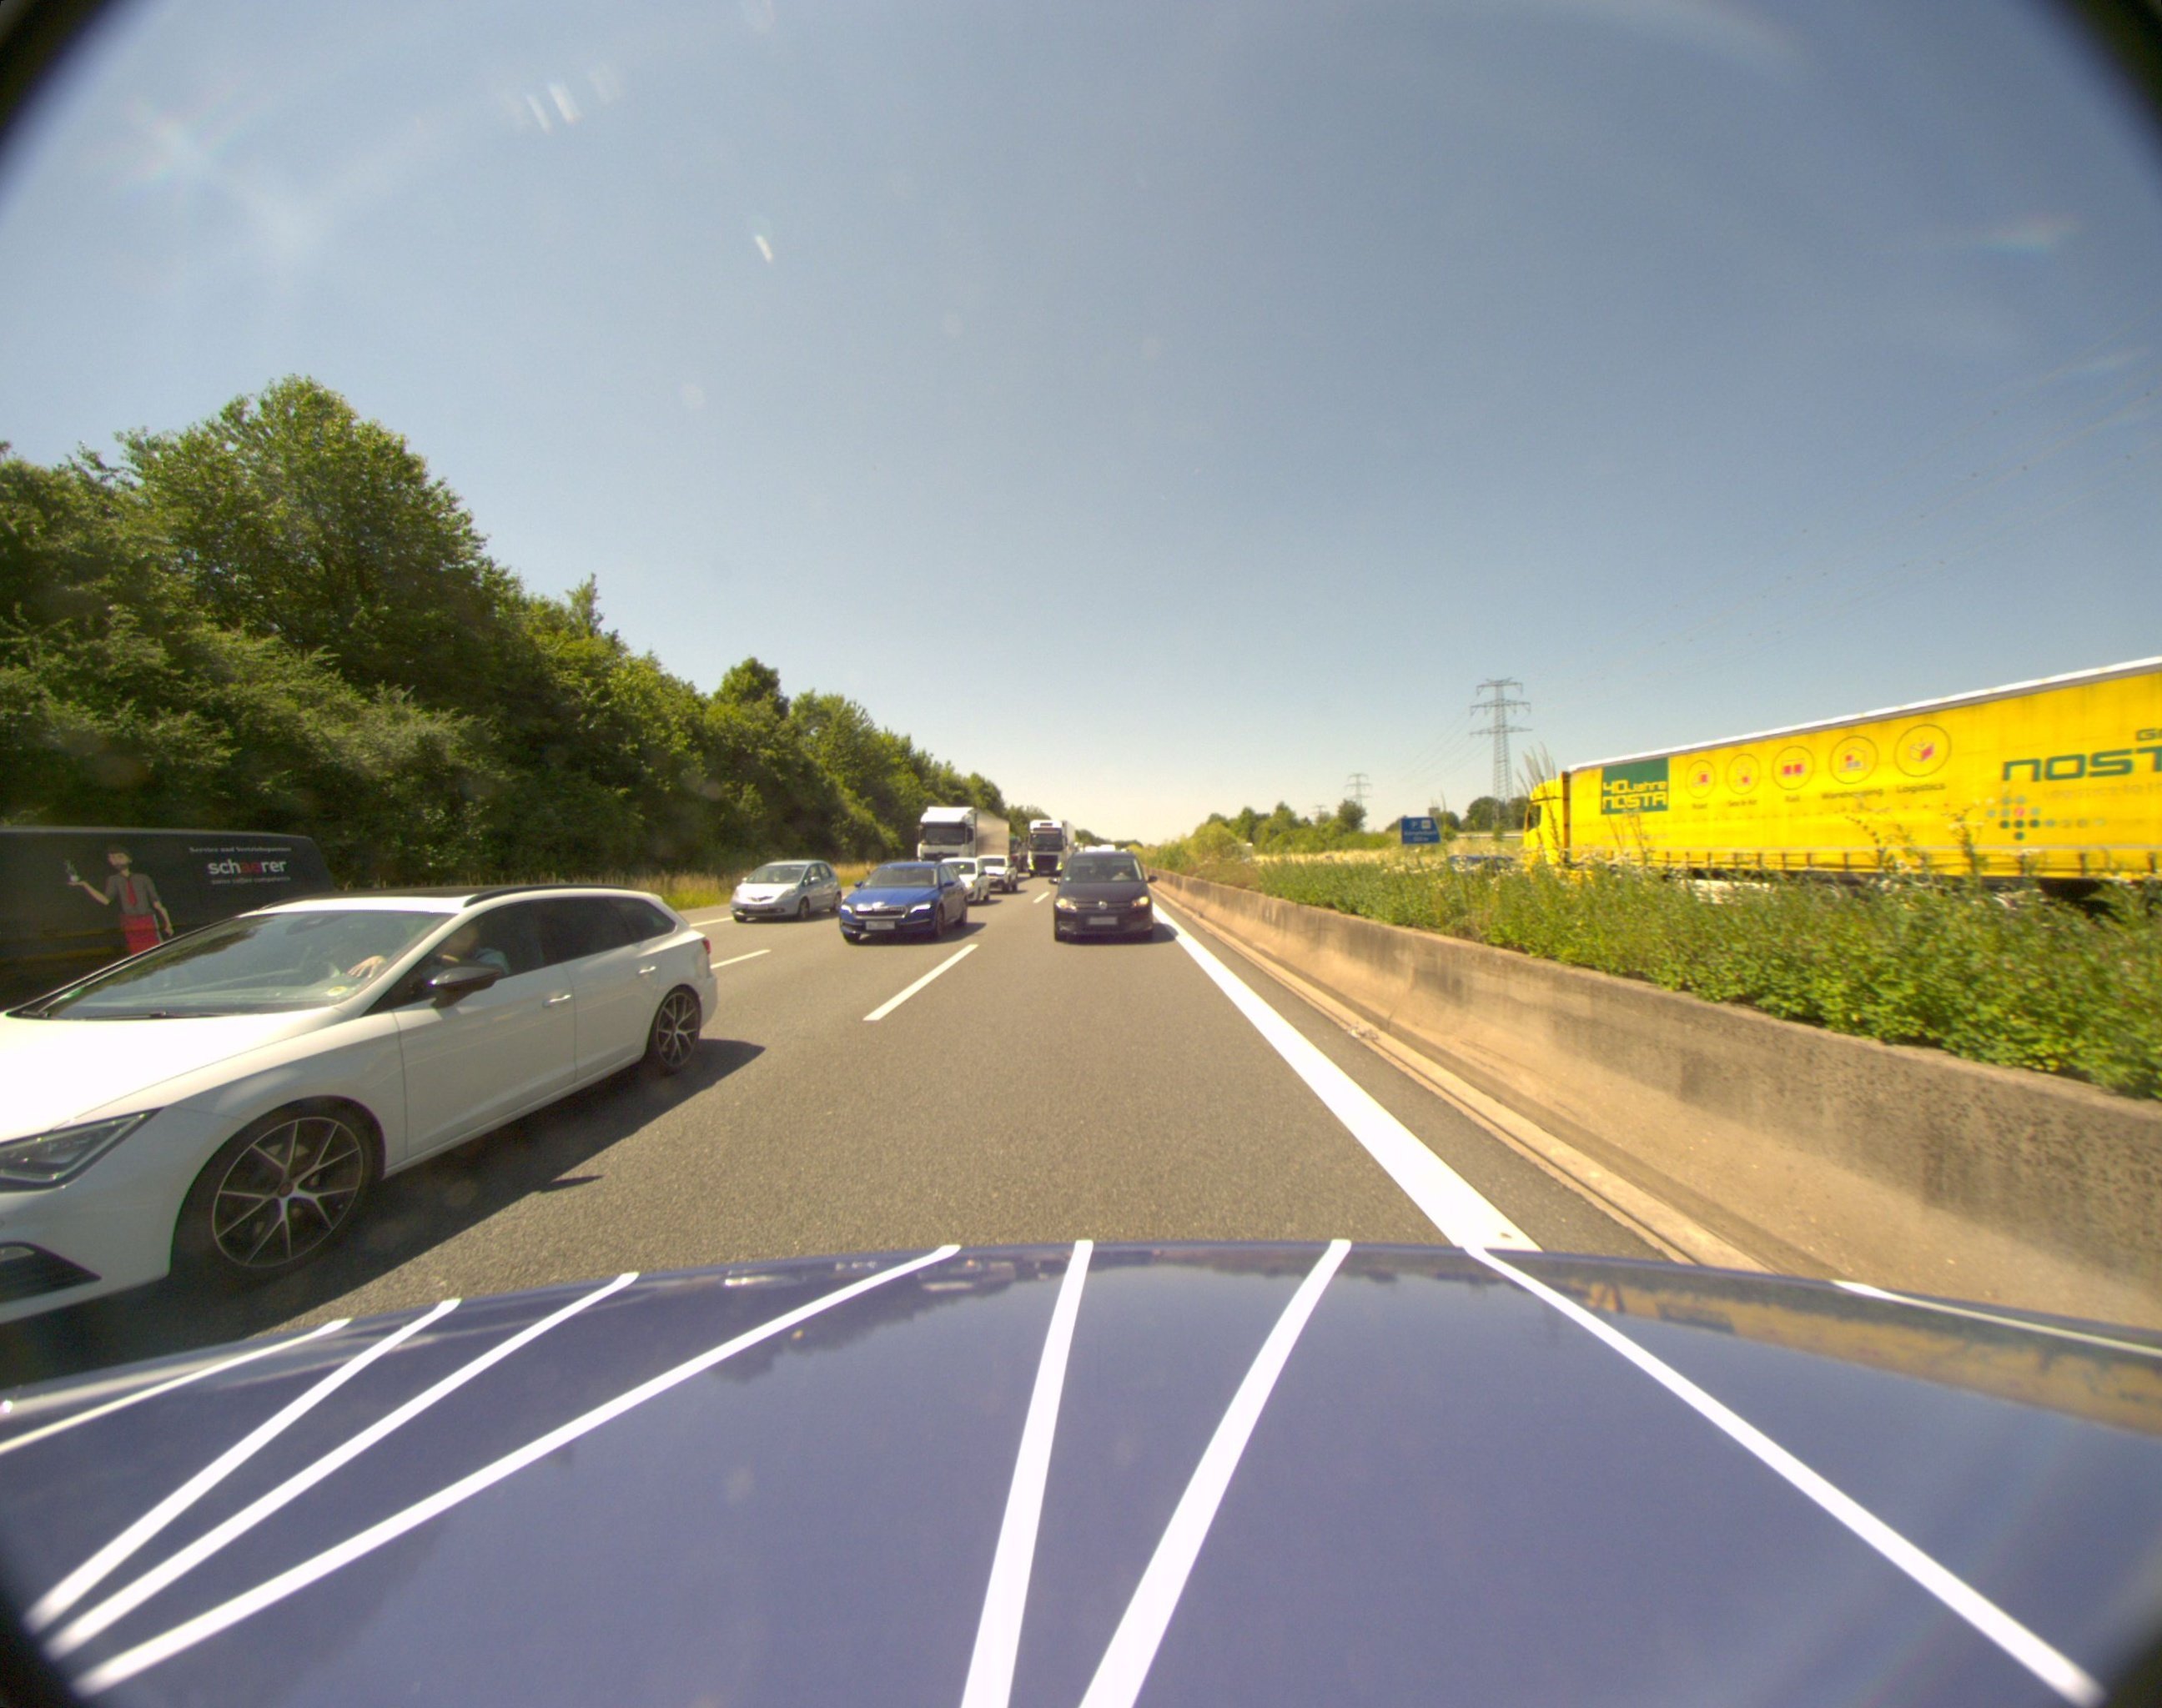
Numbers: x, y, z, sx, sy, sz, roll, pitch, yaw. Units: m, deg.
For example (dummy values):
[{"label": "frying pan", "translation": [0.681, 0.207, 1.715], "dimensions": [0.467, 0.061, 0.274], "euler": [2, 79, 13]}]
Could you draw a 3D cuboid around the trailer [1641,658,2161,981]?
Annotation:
[{"label": "trailer", "translation": [15.487, -0.571, 13.832], "dimensions": [2.828, 4.182, 10.684], "euler": [-3, 1, 2]}]

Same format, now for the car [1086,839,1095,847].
[{"label": "car", "translation": [2.221, -2.669, 184.502], "dimensions": [1.998, 2.002, 4.000], "euler": [-2, 1, 3]}]

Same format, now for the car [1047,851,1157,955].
[{"label": "car", "translation": [0.424, 0.789, 14.973], "dimensions": [1.758, 1.571, 5.291], "euler": [-1, 1, 2]}]

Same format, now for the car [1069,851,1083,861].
[{"label": "car", "translation": [-0.689, 0.245, 102.712], "dimensions": [1.650, 1.336, 3.381], "euler": [-2, 1, 3]}]

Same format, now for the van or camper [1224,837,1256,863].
[{"label": "van or camper", "translation": [18.756, -0.550, 90.024], "dimensions": [2.558, 2.822, 7.066], "euler": [-3, 1, 3]}]

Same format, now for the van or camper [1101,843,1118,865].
[{"label": "van or camper", "translation": [3.389, -0.036, 89.892], "dimensions": [1.956, 2.368, 4.037], "euler": [-3, 1, 3]}]

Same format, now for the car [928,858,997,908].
[{"label": "car", "translation": [-3.794, 0.891, 24.868], "dimensions": [1.609, 1.426, 3.809], "euler": [0, 1, 1]}]

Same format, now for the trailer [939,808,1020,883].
[{"label": "trailer", "translation": [-6.212, -0.543, 48.877], "dimensions": [2.879, 4.132, 12.076], "euler": [-2, 1, 3]}]

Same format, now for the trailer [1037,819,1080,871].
[{"label": "trailer", "translation": [-1.714, -0.721, 63.333], "dimensions": [2.776, 3.951, 9.156], "euler": [-2, 1, 3]}]

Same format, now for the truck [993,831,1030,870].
[{"label": "truck", "translation": [-5.866, -0.304, 65.158], "dimensions": [2.299, 3.128, 5.675], "euler": [-2, 1, 3]}]

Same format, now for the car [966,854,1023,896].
[{"label": "car", "translation": [-3.496, 0.796, 31.289], "dimensions": [1.748, 1.549, 3.884], "euler": [0, 1, 2]}]

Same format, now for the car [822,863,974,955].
[{"label": "car", "translation": [-3.420, 0.964, 15.178], "dimensions": [1.780, 1.408, 4.572], "euler": [0, 1, 2]}]

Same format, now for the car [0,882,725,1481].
[{"label": "car", "translation": [-3.821, 1.002, 3.959], "dimensions": [1.752, 1.435, 4.313], "euler": [-1, 1, 2]}]

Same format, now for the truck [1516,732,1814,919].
[{"label": "truck", "translation": [15.687, -0.716, 21.340], "dimensions": [2.785, 4.212, 7.324], "euler": [-3, 1, 2]}]

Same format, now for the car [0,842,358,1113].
[{"label": "car", "translation": [-8.696, 0.906, 5.594], "dimensions": [1.918, 1.929, 4.856], "euler": [-1, 1, 2]}]

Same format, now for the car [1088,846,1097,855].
[{"label": "car", "translation": [2.238, -0.688, 147.592], "dimensions": [1.652, 1.636, 4.000], "euler": [-2, 1, 3]}]

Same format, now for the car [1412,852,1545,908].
[{"label": "car", "translation": [11.749, 0.704, 22.808], "dimensions": [1.874, 1.457, 4.099], "euler": [-2, 0, 1]}]

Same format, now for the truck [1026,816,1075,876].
[{"label": "truck", "translation": [-2.069, -0.603, 55.471], "dimensions": [2.750, 3.972, 8.361], "euler": [-2, 1, 3]}]

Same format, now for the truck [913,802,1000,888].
[{"label": "truck", "translation": [-6.558, -0.478, 41.444], "dimensions": [2.879, 4.133, 8.475], "euler": [-2, 1, 3]}]

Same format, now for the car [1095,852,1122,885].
[{"label": "car", "translation": [1.505, 0.749, 41.744], "dimensions": [1.357, 1.630, 2.994], "euler": [-3, 1, 3]}]

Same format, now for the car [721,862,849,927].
[{"label": "car", "translation": [-7.538, 0.965, 19.778], "dimensions": [1.666, 1.453, 3.922], "euler": [0, 0, 2]}]

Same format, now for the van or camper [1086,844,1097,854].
[{"label": "van or camper", "translation": [2.363, -1.028, 165.611], "dimensions": [2.189, 2.018, 4.364], "euler": [-2, 1, 3]}]
